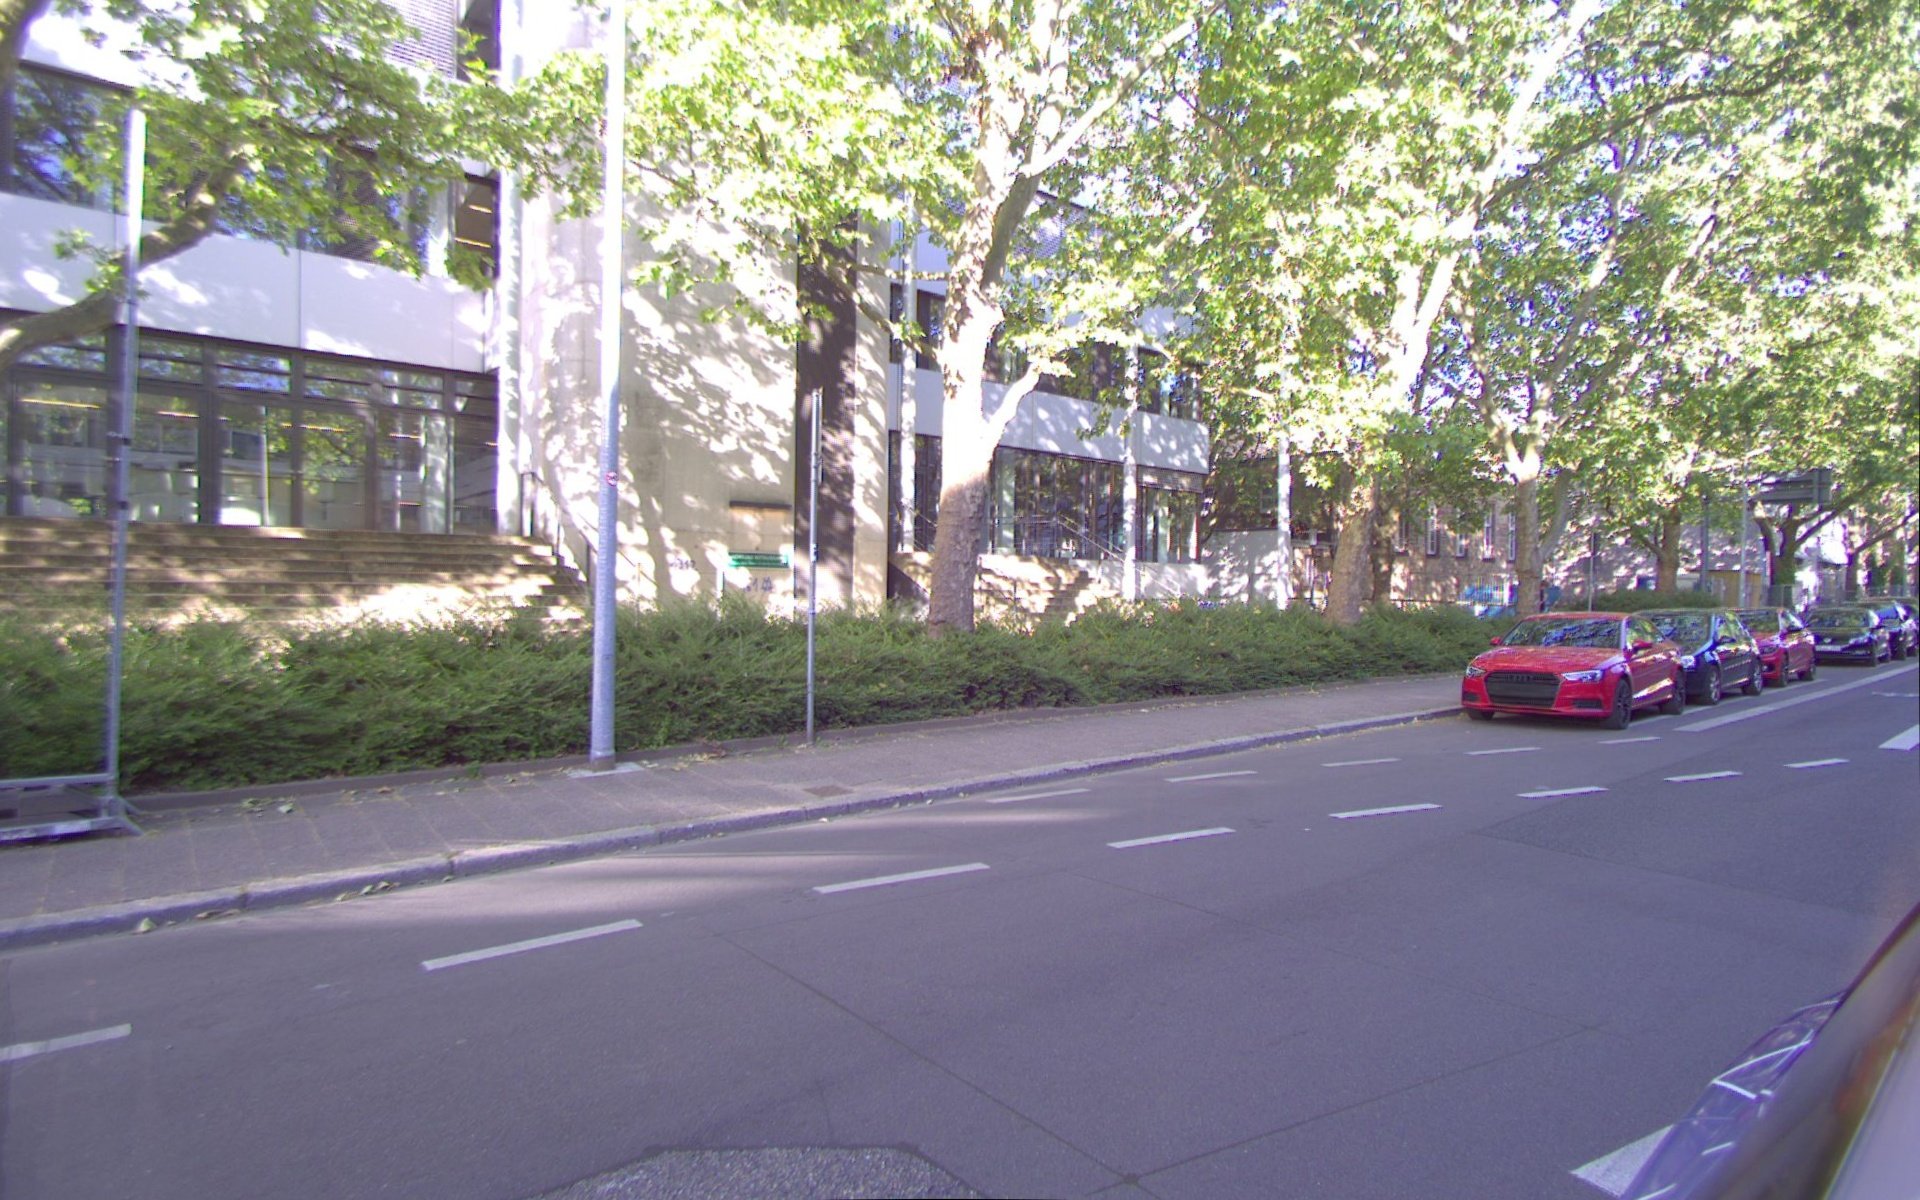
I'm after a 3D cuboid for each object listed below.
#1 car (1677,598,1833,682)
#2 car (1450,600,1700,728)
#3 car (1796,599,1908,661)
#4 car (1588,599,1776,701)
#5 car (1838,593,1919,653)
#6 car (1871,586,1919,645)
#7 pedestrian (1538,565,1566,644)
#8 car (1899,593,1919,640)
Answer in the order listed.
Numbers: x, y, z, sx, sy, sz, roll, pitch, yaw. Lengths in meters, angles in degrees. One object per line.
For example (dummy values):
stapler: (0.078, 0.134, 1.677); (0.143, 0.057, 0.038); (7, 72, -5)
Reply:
car: (15.738, 0.705, 19.971); (3.854, 1.467, 1.691); (-1, 0, -40)
car: (8.296, 0.734, 13.515); (3.931, 1.409, 1.792); (-1, 0, -42)
car: (22.943, 0.708, 25.987); (3.855, 1.441, 1.691); (-1, 0, -41)
car: (11.850, 0.727, 16.544); (3.632, 1.436, 1.668); (-1, 0, -40)
car: (26.628, 0.600, 29.044); (4.158, 1.598, 1.632); (-1, 0, -41)
car: (31.167, 0.469, 33.012); (4.497, 1.814, 1.632); (-1, 0, -41)
pedestrian: (15.677, 0.113, 26.798); (0.549, 2.039, 0.555); (0, 0, 38)
car: (35.530, 0.568, 36.784); (4.497, 1.633, 1.632); (-1, 0, -41)
